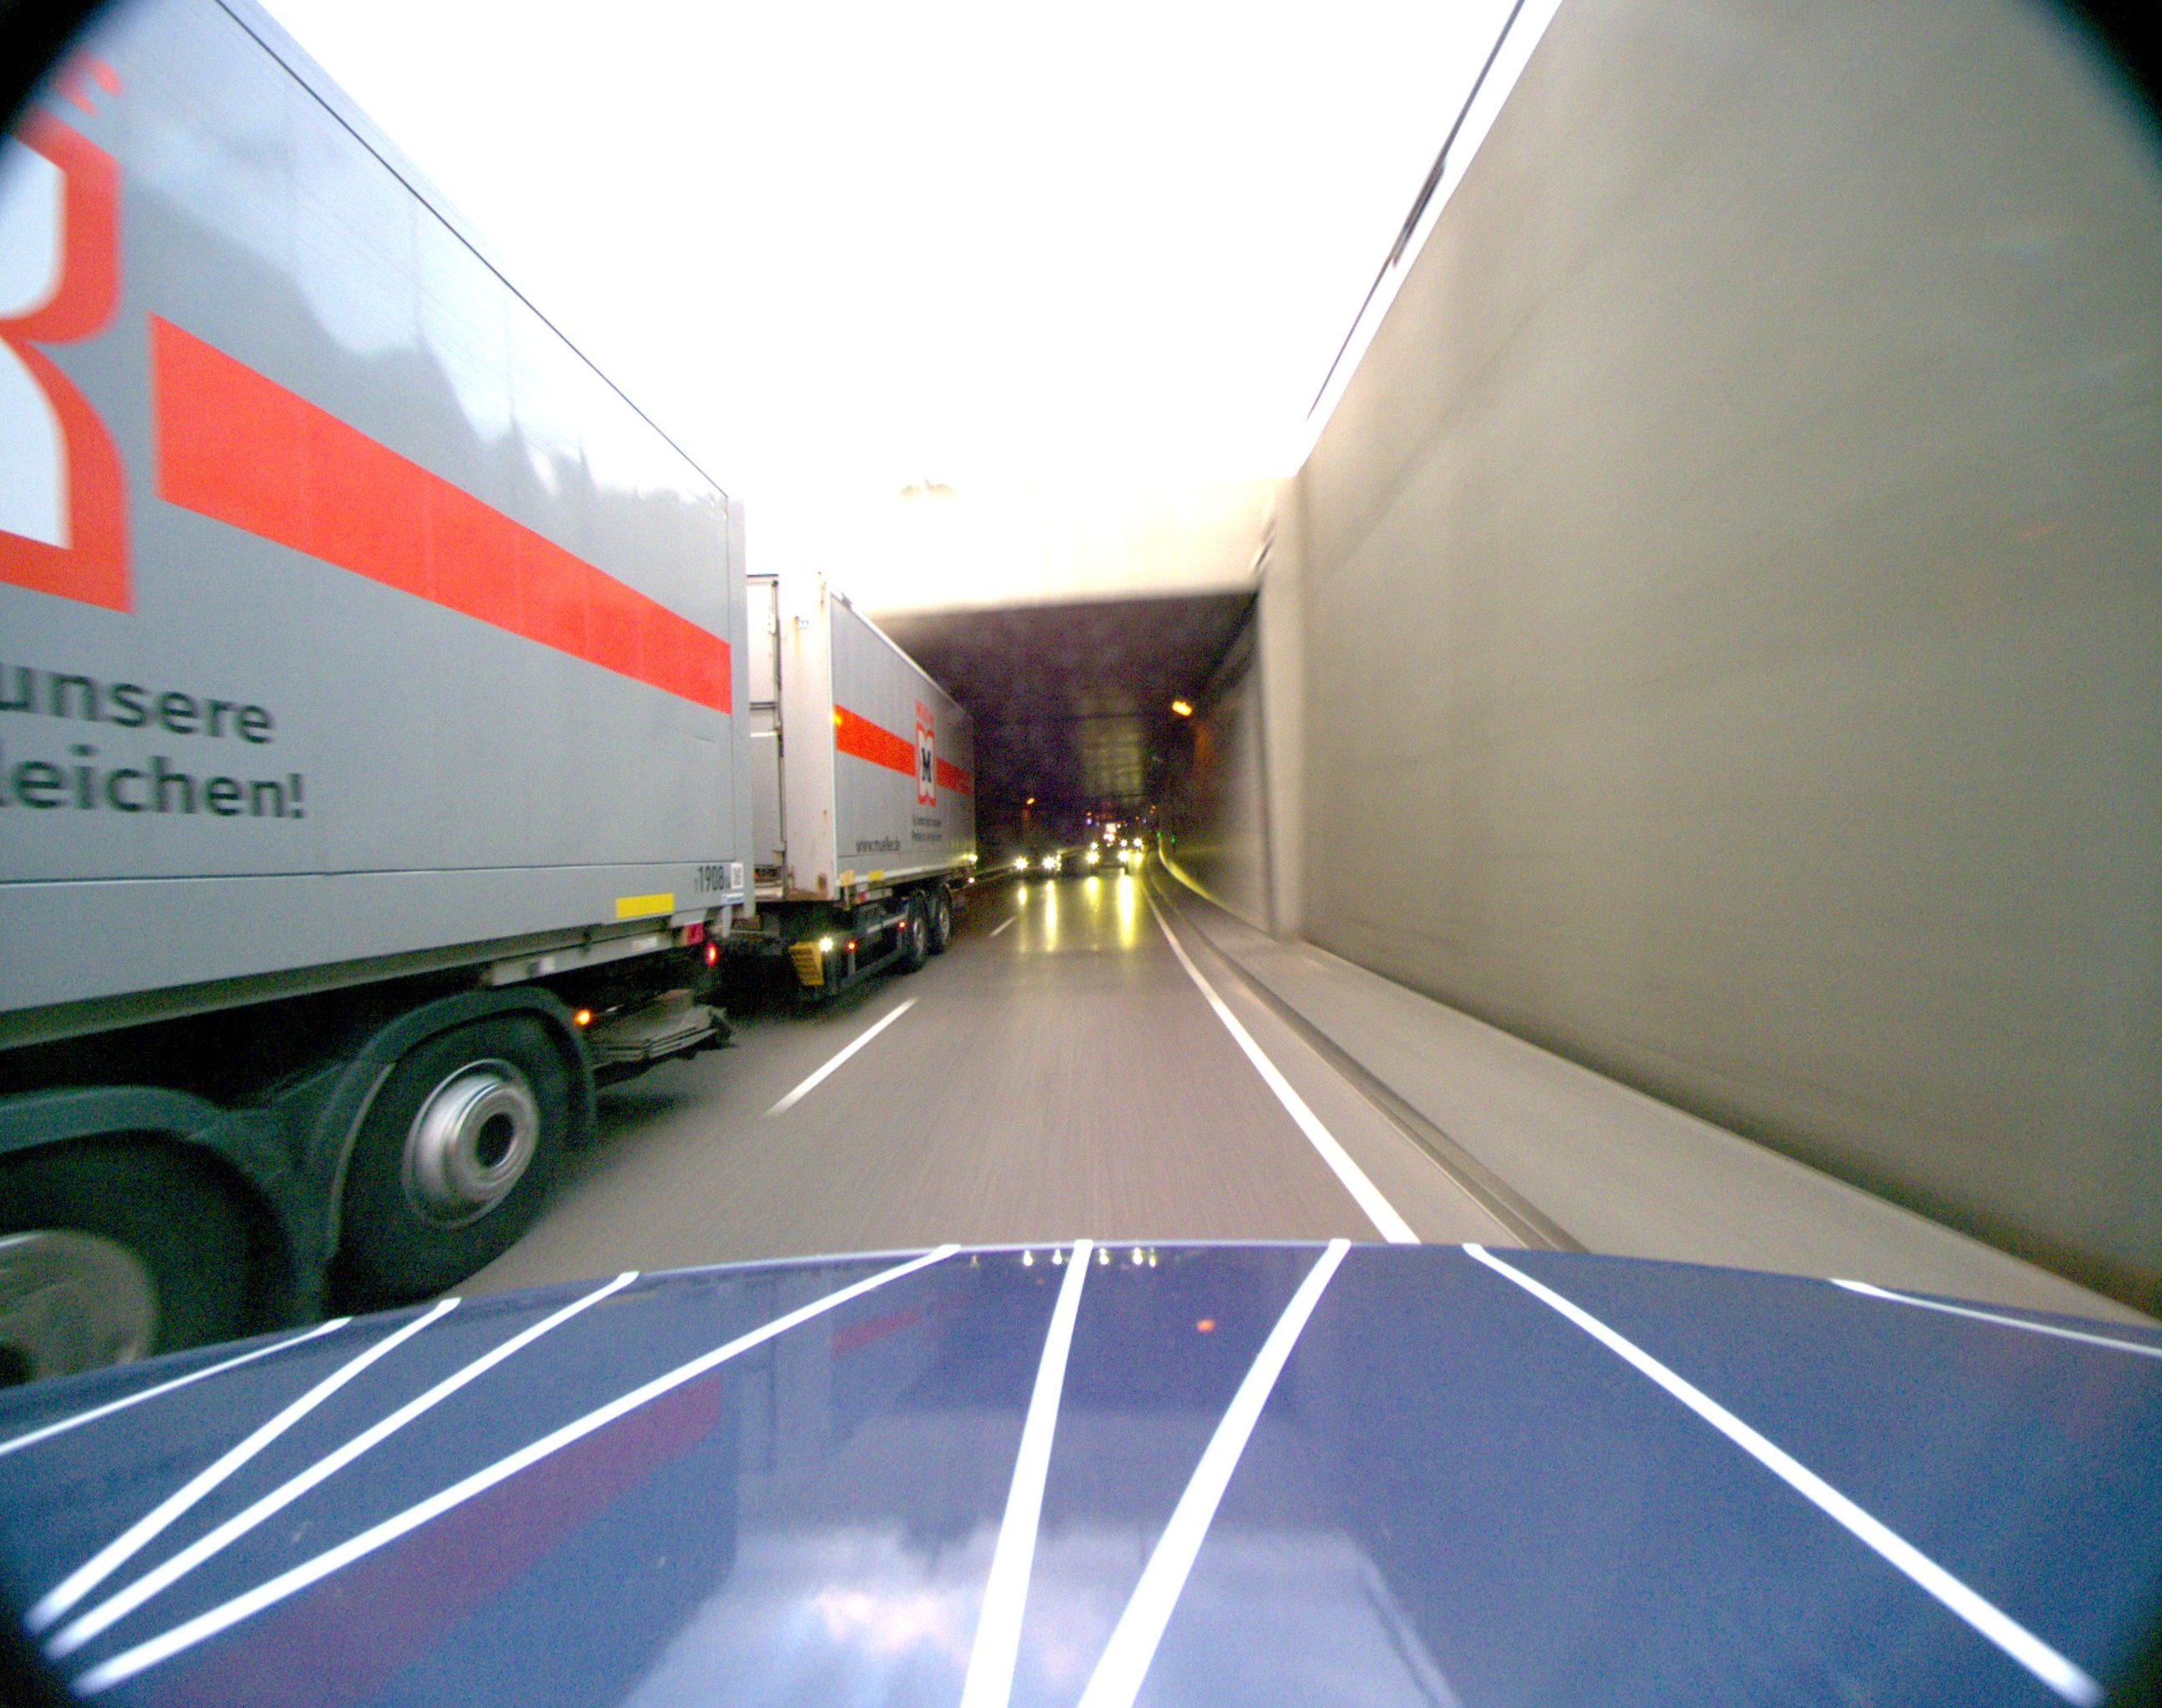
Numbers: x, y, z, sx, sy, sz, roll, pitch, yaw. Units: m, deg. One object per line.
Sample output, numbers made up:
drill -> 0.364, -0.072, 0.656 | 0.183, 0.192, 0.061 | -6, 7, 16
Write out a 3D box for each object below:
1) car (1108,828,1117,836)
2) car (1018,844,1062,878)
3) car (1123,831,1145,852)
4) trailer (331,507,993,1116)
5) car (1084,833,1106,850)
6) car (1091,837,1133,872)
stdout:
car -> 7.516, -5.139, 180.008 | 1.998, 1.674, 4.000 | -3, 1, 3
car -> -1.833, 0.276, 35.321 | 1.735, 1.395, 3.798 | -2, 1, 1
car -> 4.893, -1.188, 69.686 | 1.714, 1.729, 4.000 | -3, 3, 6
trailer -> -3.243, -0.300, 9.429 | 2.882, 3.836, 8.947 | -3, 1, 1
car -> 1.410, -1.231, 77.062 | 1.735, 1.565, 4.001 | -4, 1, 7
car -> 1.556, -0.022, 37.205 | 1.819, 1.590, 4.001 | -2, 1, 5
